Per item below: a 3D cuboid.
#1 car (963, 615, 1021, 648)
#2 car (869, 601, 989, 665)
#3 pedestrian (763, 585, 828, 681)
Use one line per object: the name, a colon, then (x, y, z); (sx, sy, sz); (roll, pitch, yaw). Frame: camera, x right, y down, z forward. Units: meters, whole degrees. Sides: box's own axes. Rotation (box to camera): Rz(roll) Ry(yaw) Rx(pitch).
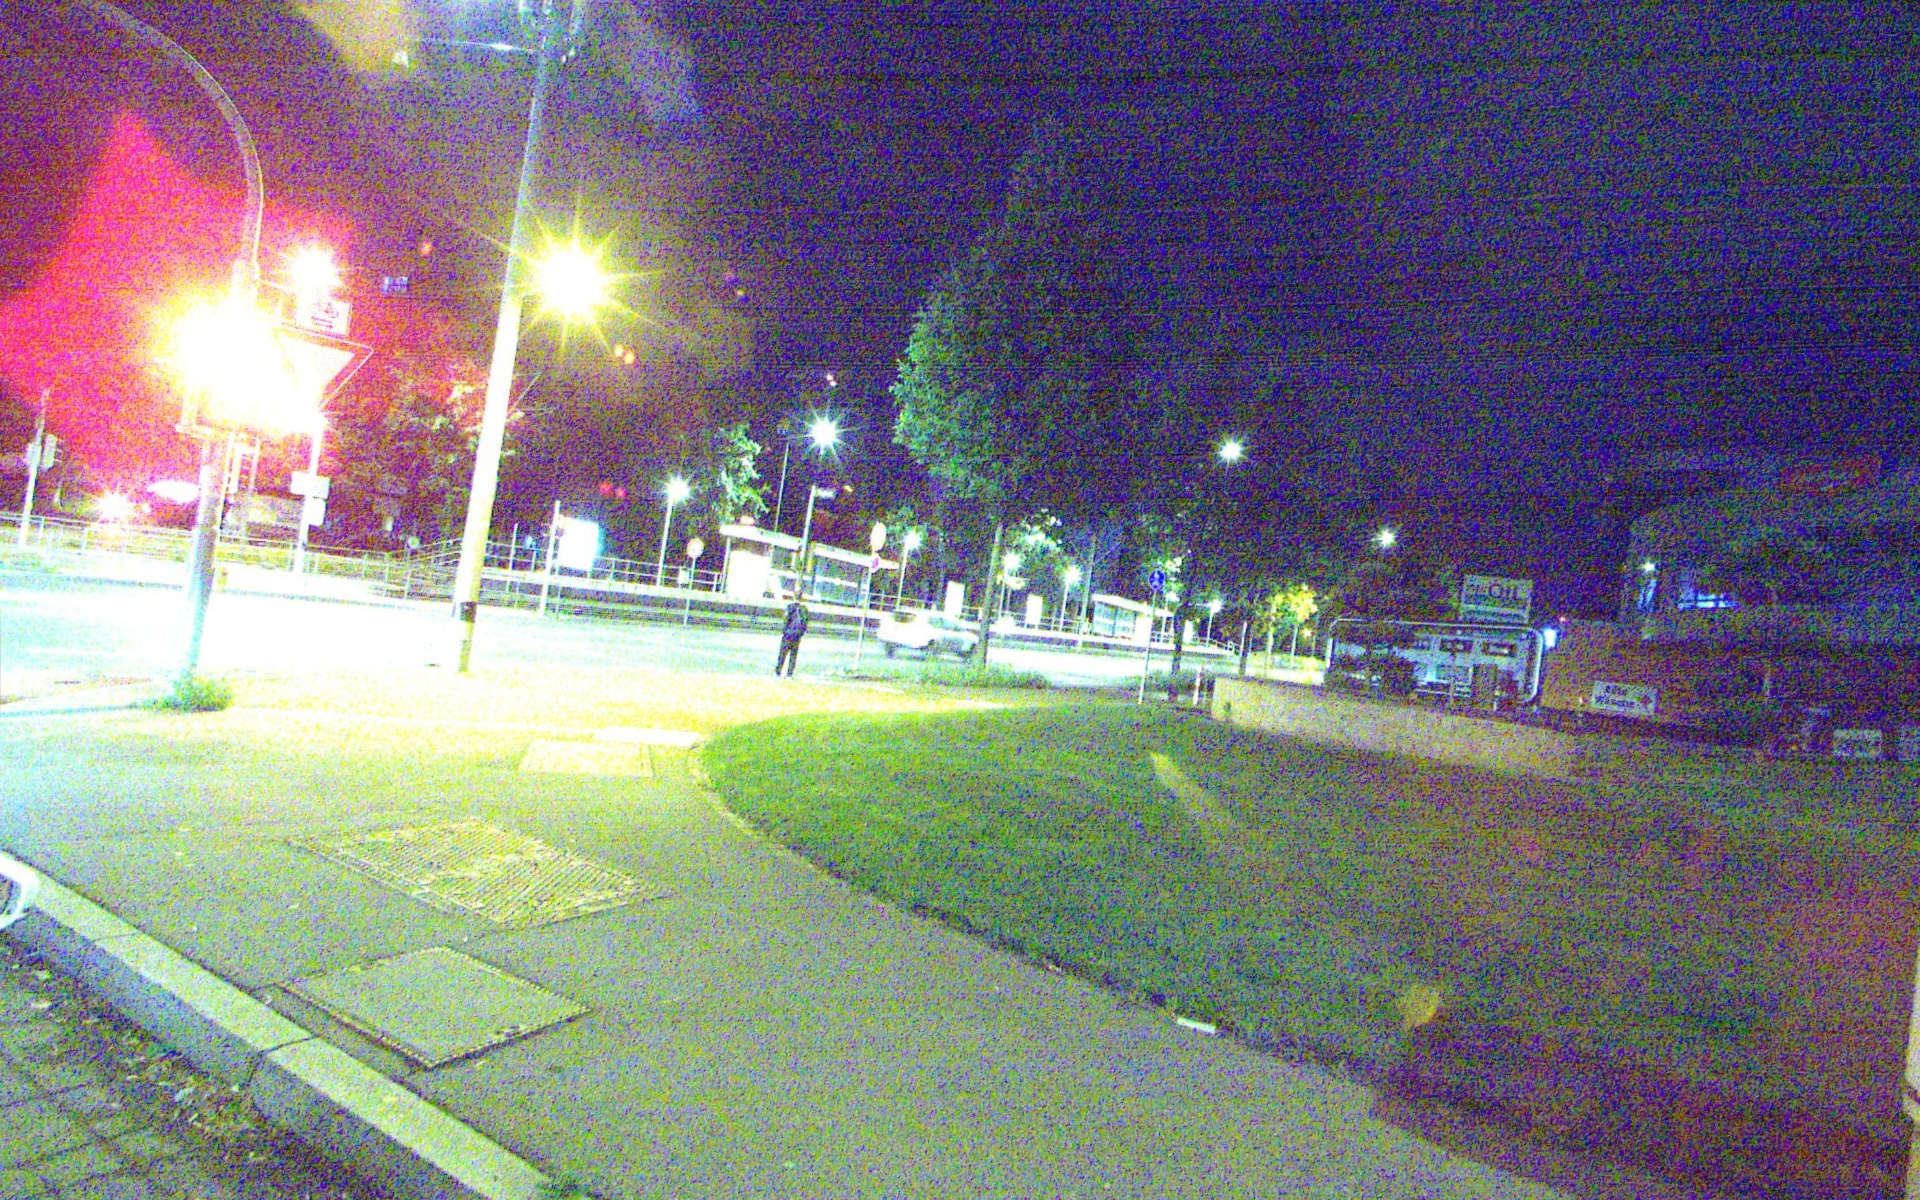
car: (2.280, 2.226, 70.682); (1.970, 2.039, 3.985); (6, 0, 36)
car: (-0.985, 1.172, 34.437); (1.844, 1.703, 4.288); (9, 0, 32)
pedestrian: (-3.188, 0.634, 19.535); (0.820, 1.767, 0.755); (6, 1, 31)
